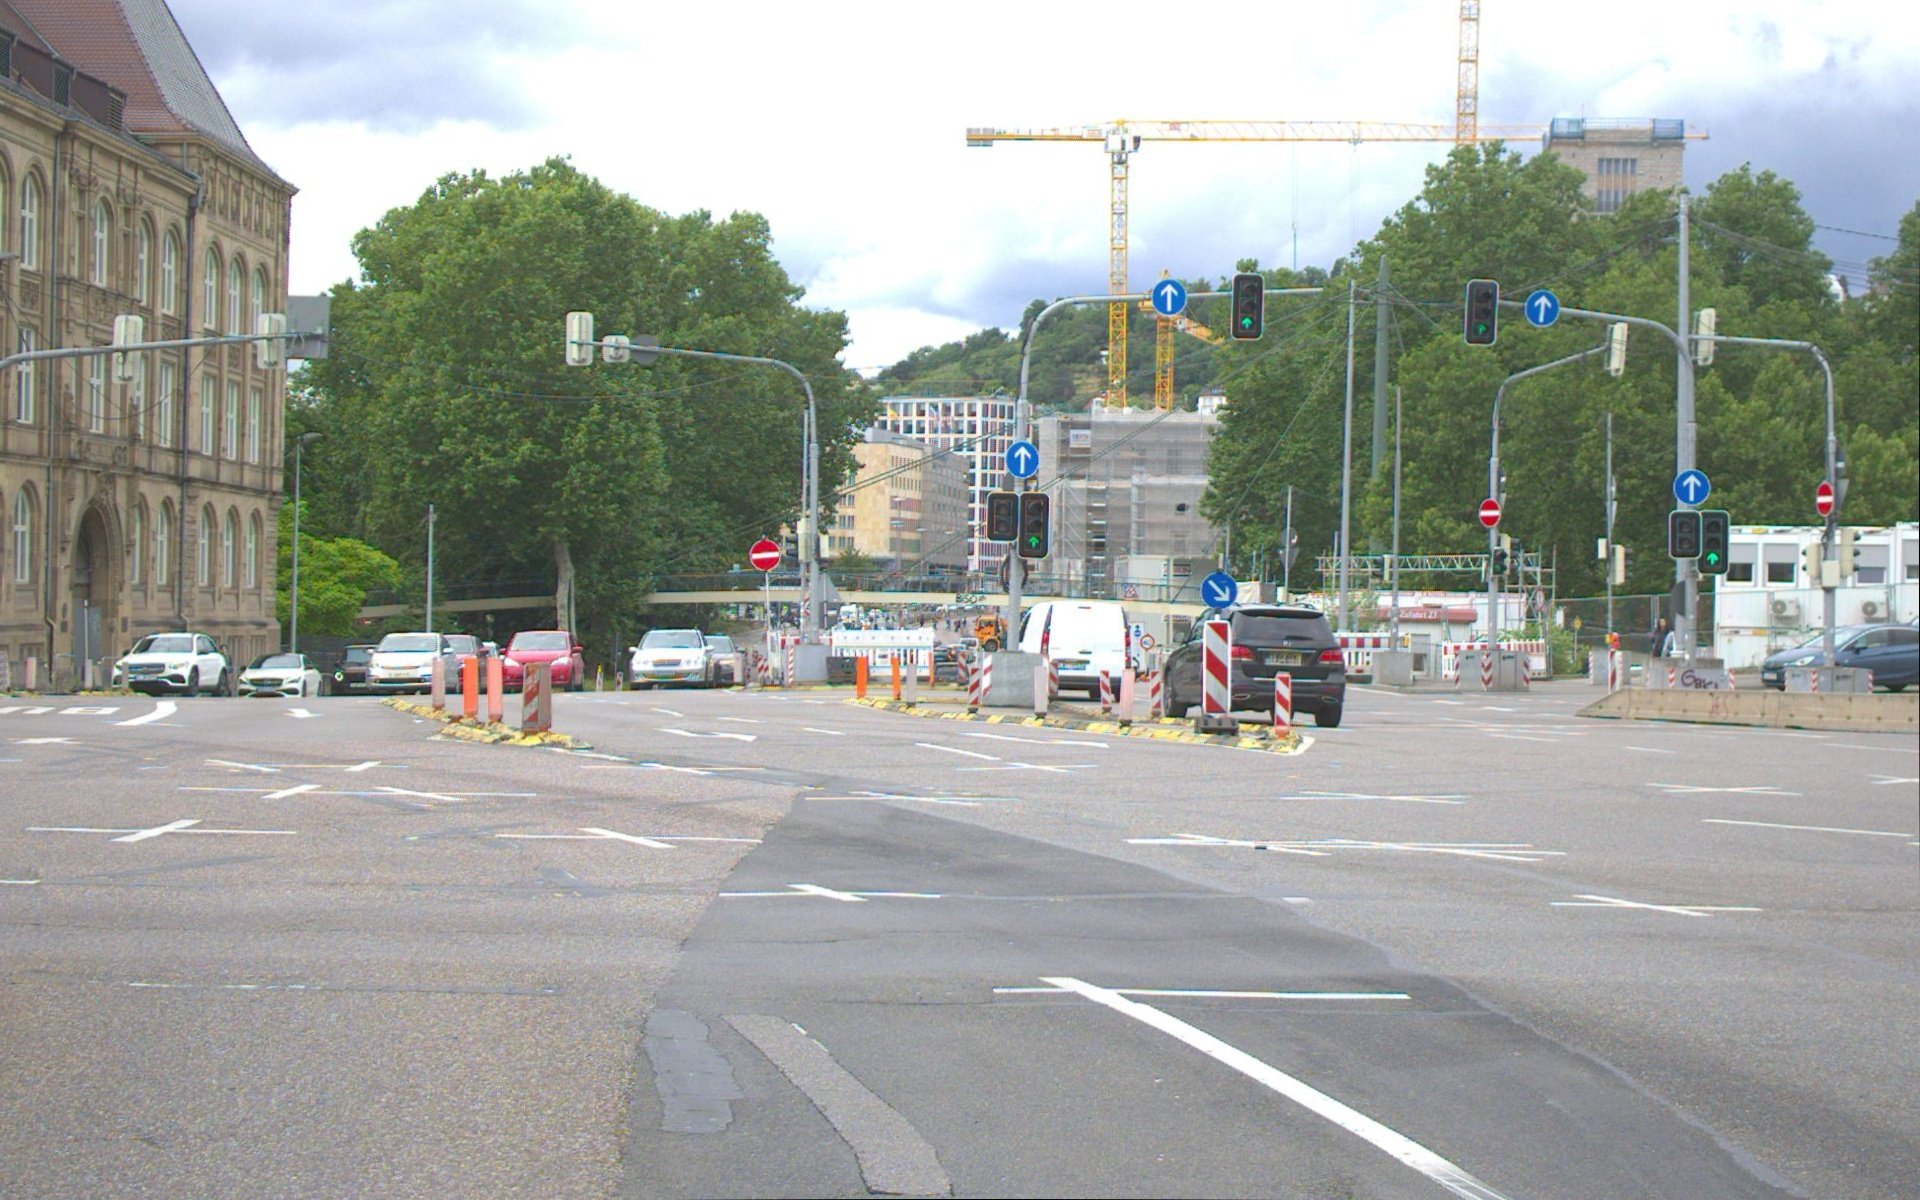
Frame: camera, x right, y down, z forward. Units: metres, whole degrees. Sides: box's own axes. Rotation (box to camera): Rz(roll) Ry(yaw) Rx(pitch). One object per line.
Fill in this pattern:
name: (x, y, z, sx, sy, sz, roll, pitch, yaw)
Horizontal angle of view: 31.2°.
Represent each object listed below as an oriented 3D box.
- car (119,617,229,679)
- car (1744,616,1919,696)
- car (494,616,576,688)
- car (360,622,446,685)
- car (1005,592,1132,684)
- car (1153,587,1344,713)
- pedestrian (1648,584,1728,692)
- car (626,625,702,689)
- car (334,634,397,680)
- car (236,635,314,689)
car: (-18.580, 1.120, 81.401, 1.676, 1.393, 3.683, 1, 0, 1)
car: (18.789, 1.177, 72.502, 3.986, 1.619, 1.823, 1, 0, -17)
car: (-9.664, 1.163, 78.337, 1.676, 1.575, 3.683, 1, 0, -5)
car: (-12.828, 1.217, 79.348, 1.676, 1.393, 3.683, 1, 0, -5)
car: (1.956, 0.667, 63.229, 1.816, 1.619, 4.001, 1, 0, -5)
car: (4.126, 0.693, 49.840, 1.831, 1.740, 4.256, 1, 0, -8)
pedestrian: (13.781, 0.710, 65.129, 1.094, 2.007, 1.185, 1, 0, -10)
car: (-6.755, 1.286, 78.450, 1.676, 1.393, 3.683, 1, 0, -5)
car: (-19.016, 1.827, 110.085, 1.676, 1.393, 3.683, 1, 0, -5)
car: (-18.801, 1.698, 94.515, 1.676, 1.393, 3.683, 1, 0, -5)
